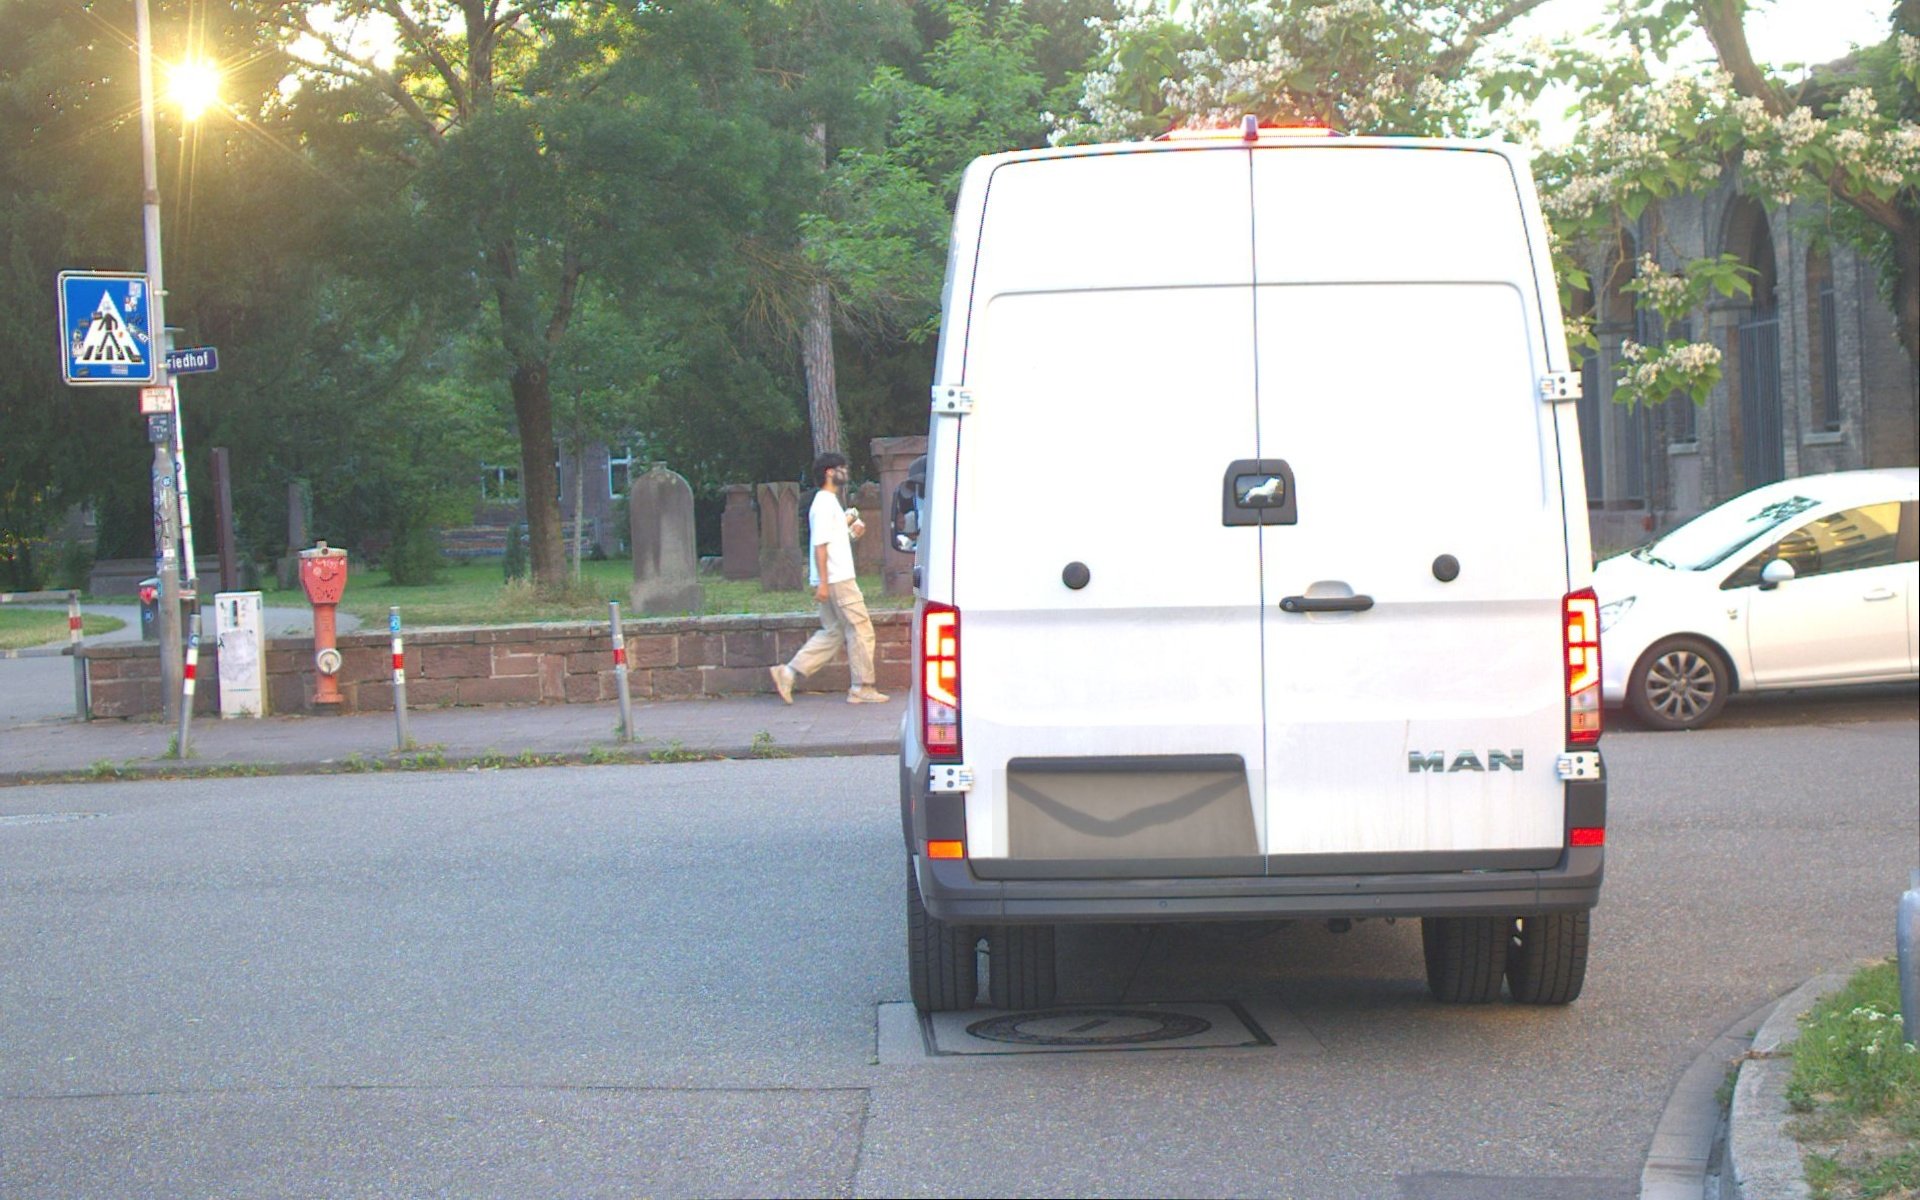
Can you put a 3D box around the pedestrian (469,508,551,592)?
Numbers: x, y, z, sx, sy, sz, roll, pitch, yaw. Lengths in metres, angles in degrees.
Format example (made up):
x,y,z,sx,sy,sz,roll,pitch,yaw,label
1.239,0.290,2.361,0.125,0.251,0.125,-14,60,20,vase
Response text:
x,y,z,sx,sy,sz,roll,pitch,yaw,label
-8.089,-0.910,61.819,1.328,1.439,1.046,-2,1,-2,pedestrian

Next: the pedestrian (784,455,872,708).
x,y,z,sx,sy,sz,roll,pitch,yaw,label
-0.953,-0.140,24.955,0.593,1.803,0.621,-1,1,0,pedestrian

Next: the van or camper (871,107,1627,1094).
x,y,z,sx,sy,sz,roll,pitch,yaw,label
0.873,-0.070,12.322,1.993,2.609,6.403,0,1,2,van or camper

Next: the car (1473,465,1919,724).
x,y,z,sx,sy,sz,roll,pitch,yaw,label
5.504,-0.083,22.632,3.854,1.568,1.958,-2,2,-3,car
